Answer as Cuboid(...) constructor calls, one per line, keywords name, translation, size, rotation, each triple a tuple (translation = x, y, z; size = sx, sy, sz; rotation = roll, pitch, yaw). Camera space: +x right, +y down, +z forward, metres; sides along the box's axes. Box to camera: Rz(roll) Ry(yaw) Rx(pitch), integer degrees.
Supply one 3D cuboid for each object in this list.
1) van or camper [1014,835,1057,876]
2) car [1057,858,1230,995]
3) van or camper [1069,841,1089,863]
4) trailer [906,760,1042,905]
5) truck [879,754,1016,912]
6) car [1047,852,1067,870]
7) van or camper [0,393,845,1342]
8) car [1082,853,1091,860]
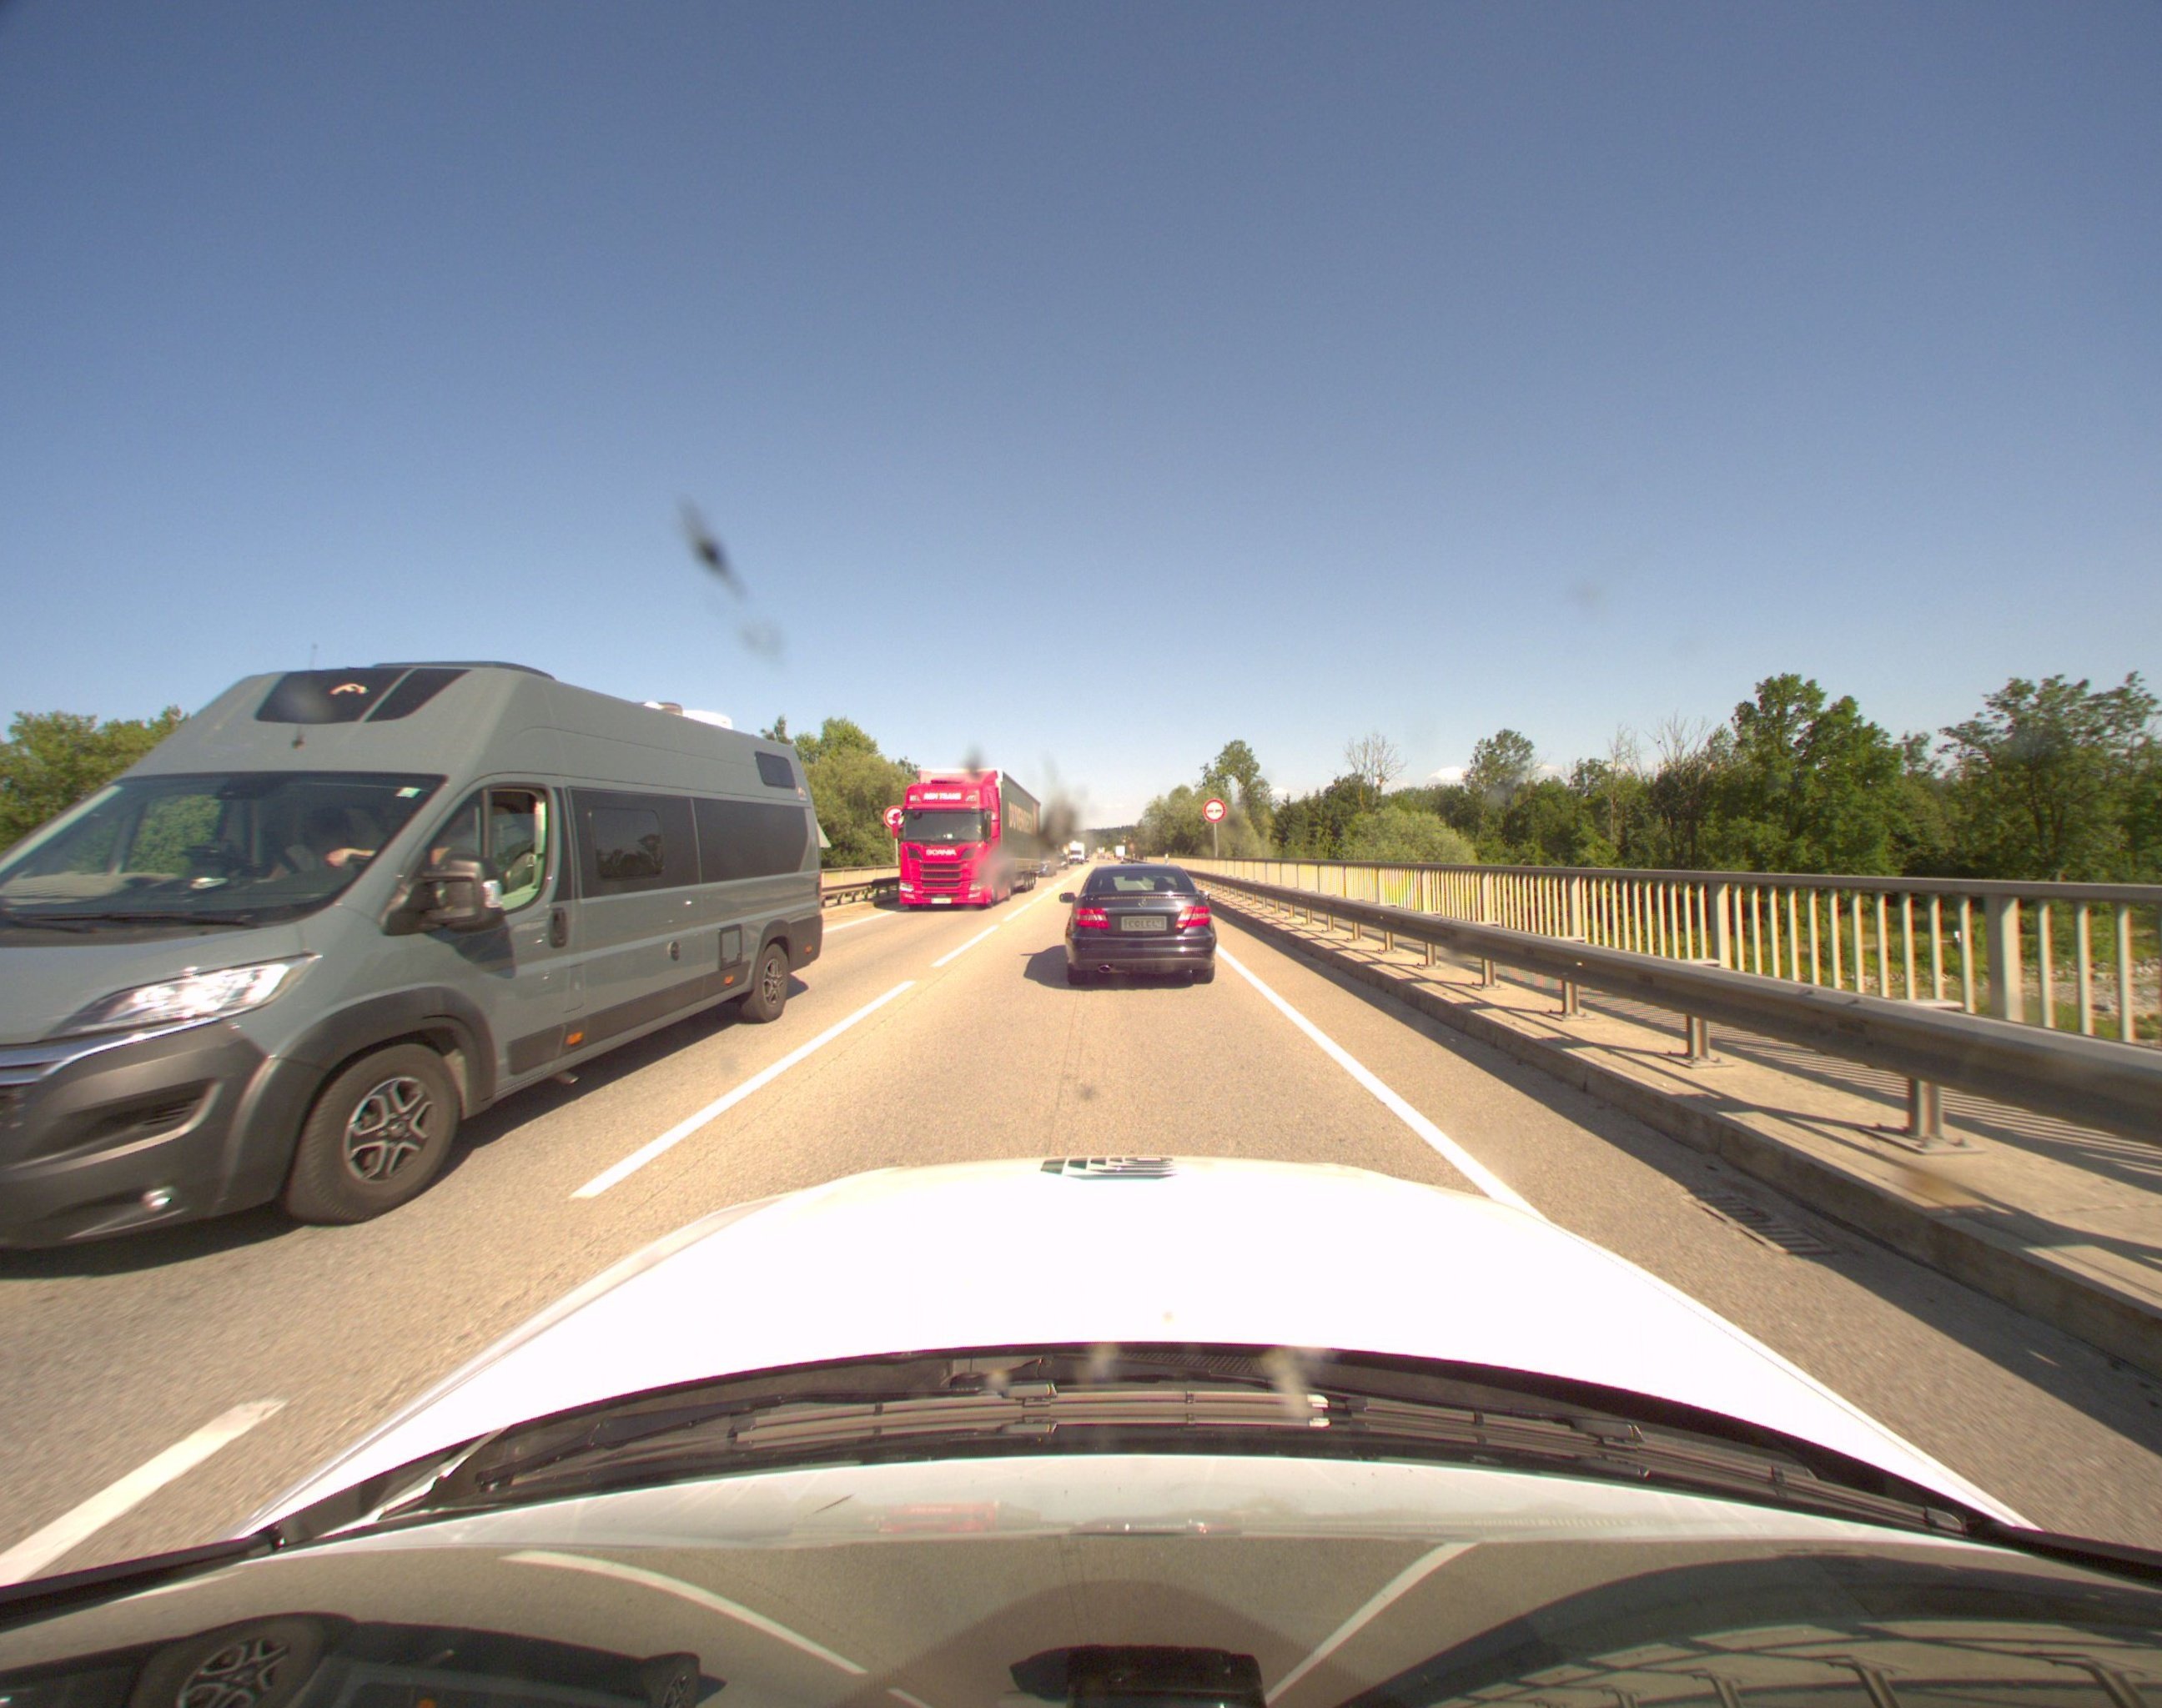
Cuboid(name="van or camper", translation=(-3.057, 0.095, 56.173), size=(2.421, 2.642, 6.406), rotation=(-1, 0, 1))
Cuboid(name="car", translation=(0.755, 0.774, 10.562), size=(1.786, 1.376, 4.003), rotation=(-1, 0, 3))
Cuboid(name="van or camper", translation=(-0.301, -0.308, 122.395), size=(2.625, 3.256, 7.753), rotation=(-1, 0, 2))
Cuboid(name="trailer", translation=(-3.549, -0.664, 31.573), size=(2.896, 4.302, 14.308), rotation=(-1, 0, 2))
Cuboid(name="truck", translation=(-3.792, -0.571, 24.619), size=(2.896, 4.184, 5.716), rotation=(-1, 0, 2))
Cuboid(name="car", translation=(-2.392, 0.676, 81.226), size=(1.835, 1.642, 4.575), rotation=(-1, 0, -1))
Cuboid(name="van or camper", translation=(-4.016, 0.049, 6.043), size=(2.306, 3.051, 6.820), rotation=(-1, 0, 2))
Cuboid(name="car", translation=(1.090, 0.485, 164.223), size=(1.654, 1.436, 4.187), rotation=(-1, 0, 0))
